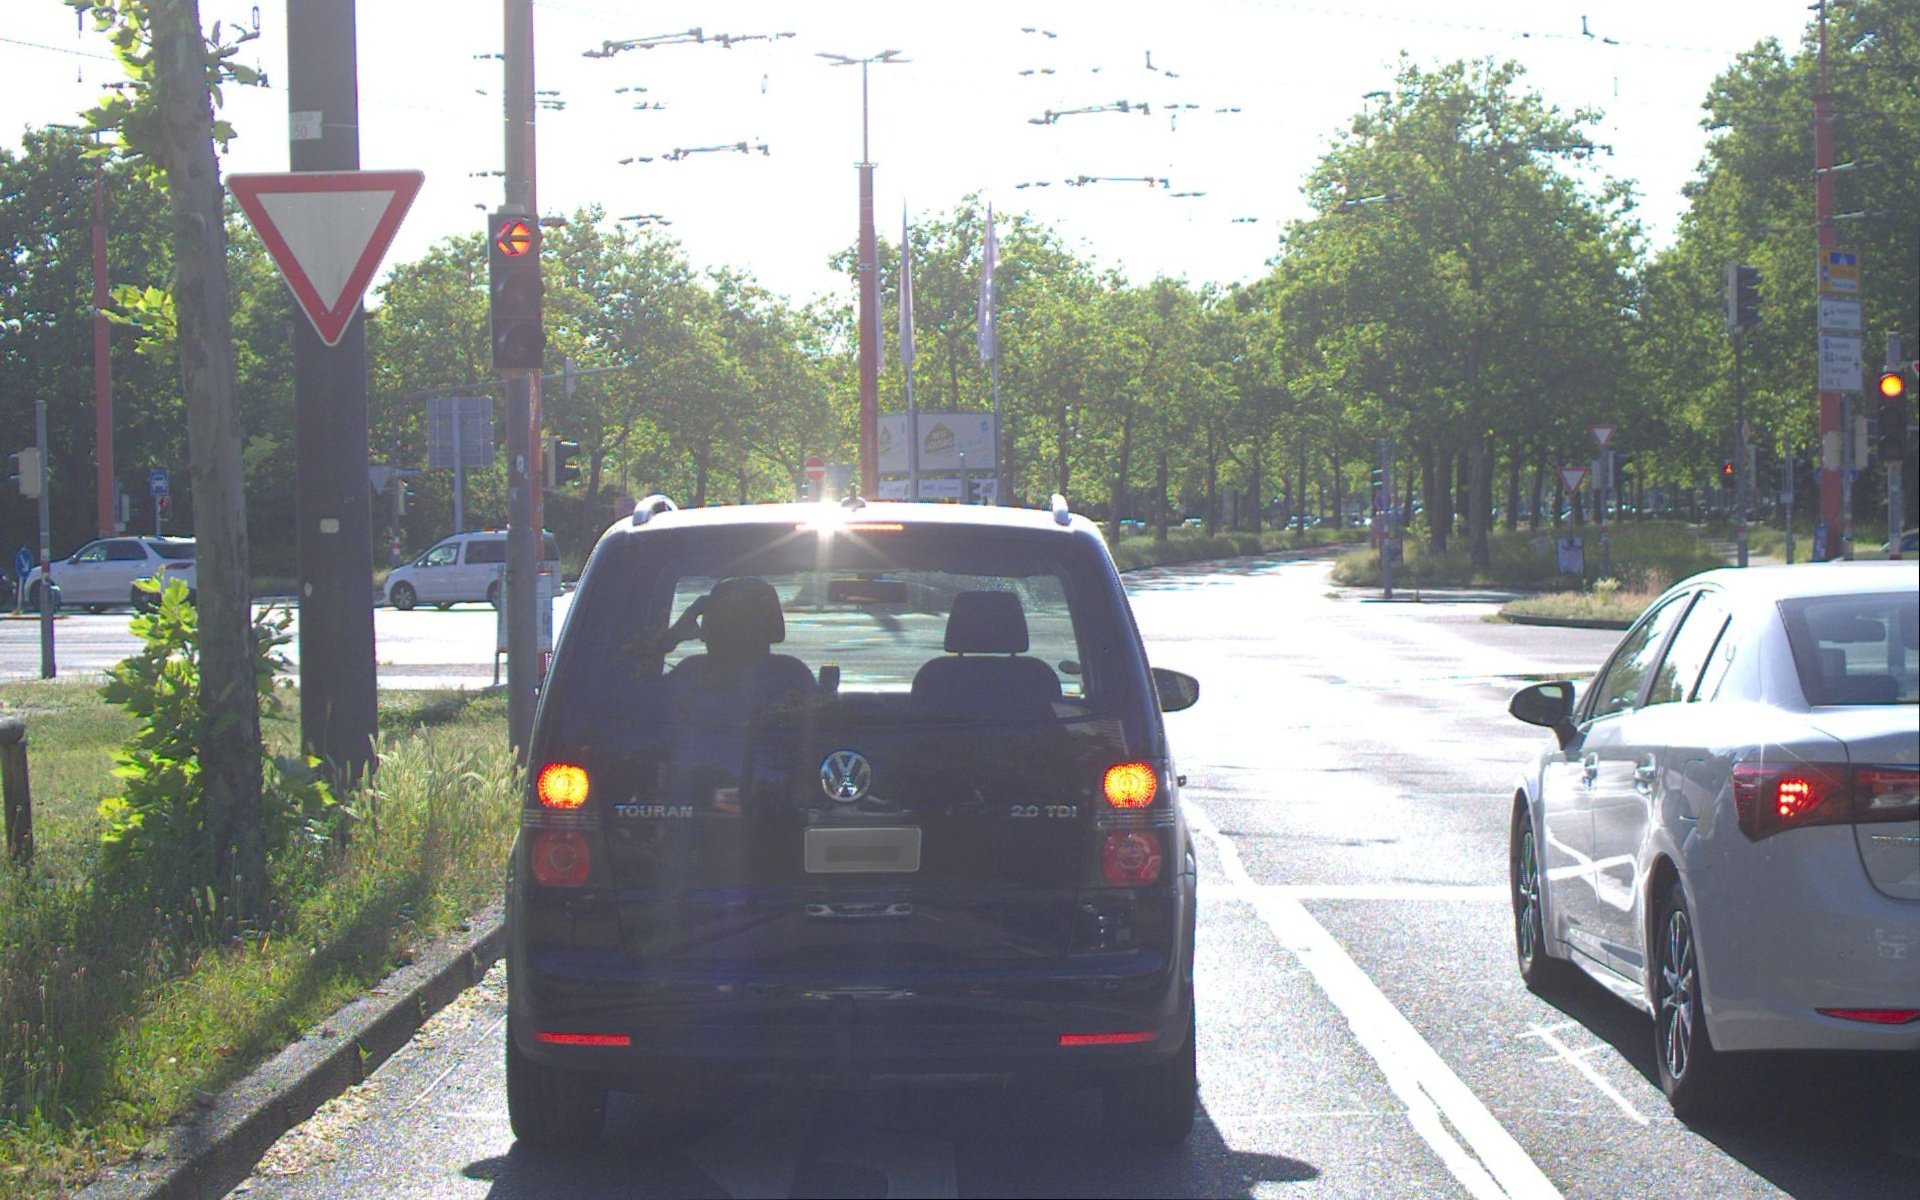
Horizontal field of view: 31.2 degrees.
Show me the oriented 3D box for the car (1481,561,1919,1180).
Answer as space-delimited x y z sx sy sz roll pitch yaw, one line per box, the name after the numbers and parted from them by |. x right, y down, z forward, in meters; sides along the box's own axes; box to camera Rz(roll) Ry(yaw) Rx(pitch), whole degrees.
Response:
2.757 0.618 10.149 1.799 1.435 4.326 1 1 1 | car

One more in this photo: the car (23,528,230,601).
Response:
-19.212 -0.834 79.221 4.666 1.620 1.654 1 1 26 | car

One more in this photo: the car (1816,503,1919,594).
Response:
18.374 -0.968 64.527 4.209 1.675 1.654 1 1 26 | car

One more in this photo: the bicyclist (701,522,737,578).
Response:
-8.137 -1.694 116.072 0.977 1.897 1.050 0 1 12 | bicyclist

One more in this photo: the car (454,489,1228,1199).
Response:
-0.253 0.537 9.971 1.738 1.597 4.326 1 1 1 | car

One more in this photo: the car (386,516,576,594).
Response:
-11.079 -1.054 79.498 4.124 1.744 1.654 1 1 24 | car

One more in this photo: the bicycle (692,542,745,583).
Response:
-8.143 -1.270 116.038 0.977 1.384 2.978 0 1 12 | bicycle
